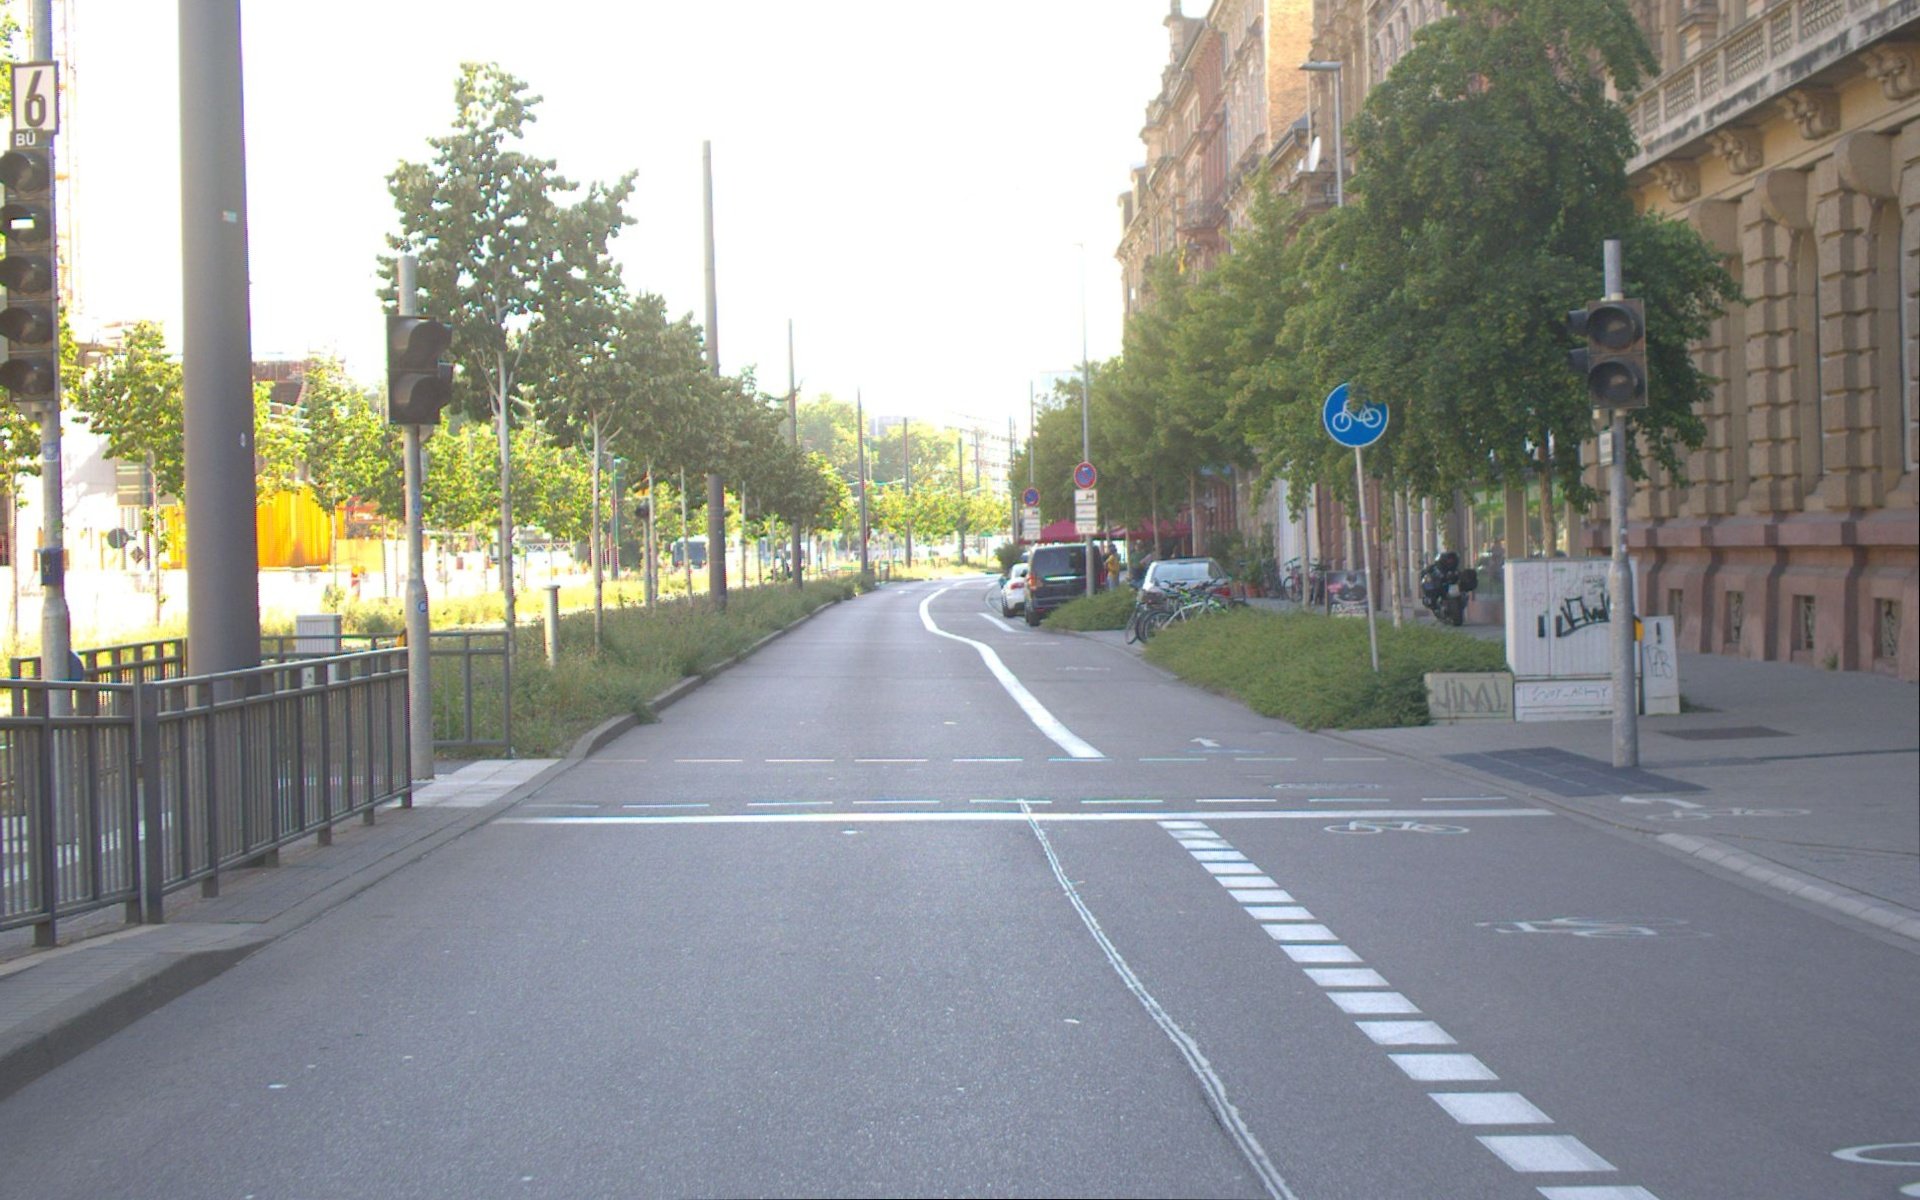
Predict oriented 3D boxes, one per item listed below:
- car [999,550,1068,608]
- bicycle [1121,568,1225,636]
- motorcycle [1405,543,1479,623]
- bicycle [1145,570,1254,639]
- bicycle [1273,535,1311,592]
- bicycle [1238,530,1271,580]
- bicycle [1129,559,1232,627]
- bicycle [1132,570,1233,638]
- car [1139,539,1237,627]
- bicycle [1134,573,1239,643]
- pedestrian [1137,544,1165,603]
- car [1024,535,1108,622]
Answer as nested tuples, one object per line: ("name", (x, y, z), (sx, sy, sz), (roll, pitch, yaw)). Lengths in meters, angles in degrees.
("car", (2.033, -0.601, 95.727), (1.849, 1.452, 4.156), (-2, 2, 1))
("bicycle", (3.645, 0.029, 58.991), (1.691, 1.044, 0.489), (-4, 1, 0))
("motorcycle", (8.517, -0.321, 60.857), (0.795, 1.304, 2.852), (-3, 2, -1))
("bicycle", (3.988, 0.075, 57.335), (1.691, 1.044, 0.489), (-3, 1, -8))
("bicycle", (8.593, -0.954, 88.959), (0.661, 1.397, 2.352), (-2, 2, -1))
("bicycle", (8.581, -1.310, 100.334), (0.661, 1.397, 2.352), (-2, 2, -1))
("bicycle", (3.864, -0.126, 60.324), (1.691, 1.044, 0.489), (-5, 1, 0))
("bicycle", (3.745, 0.065, 57.870), (1.576, 1.044, 0.489), (-3, 1, -8))
("car", (4.350, -0.357, 66.012), (1.637, 1.481, 4.212), (-3, 2, 2))
("bicycle", (3.689, 0.124, 56.043), (1.576, 1.044, 0.489), (-3, 1, -8))
("pedestrian", (4.787, -0.665, 86.272), (0.625, 1.455, 0.638), (-1, 1, -1))
("car", (2.520, -0.540, 82.452), (1.885, 1.930, 4.473), (-2, 2, 1))
